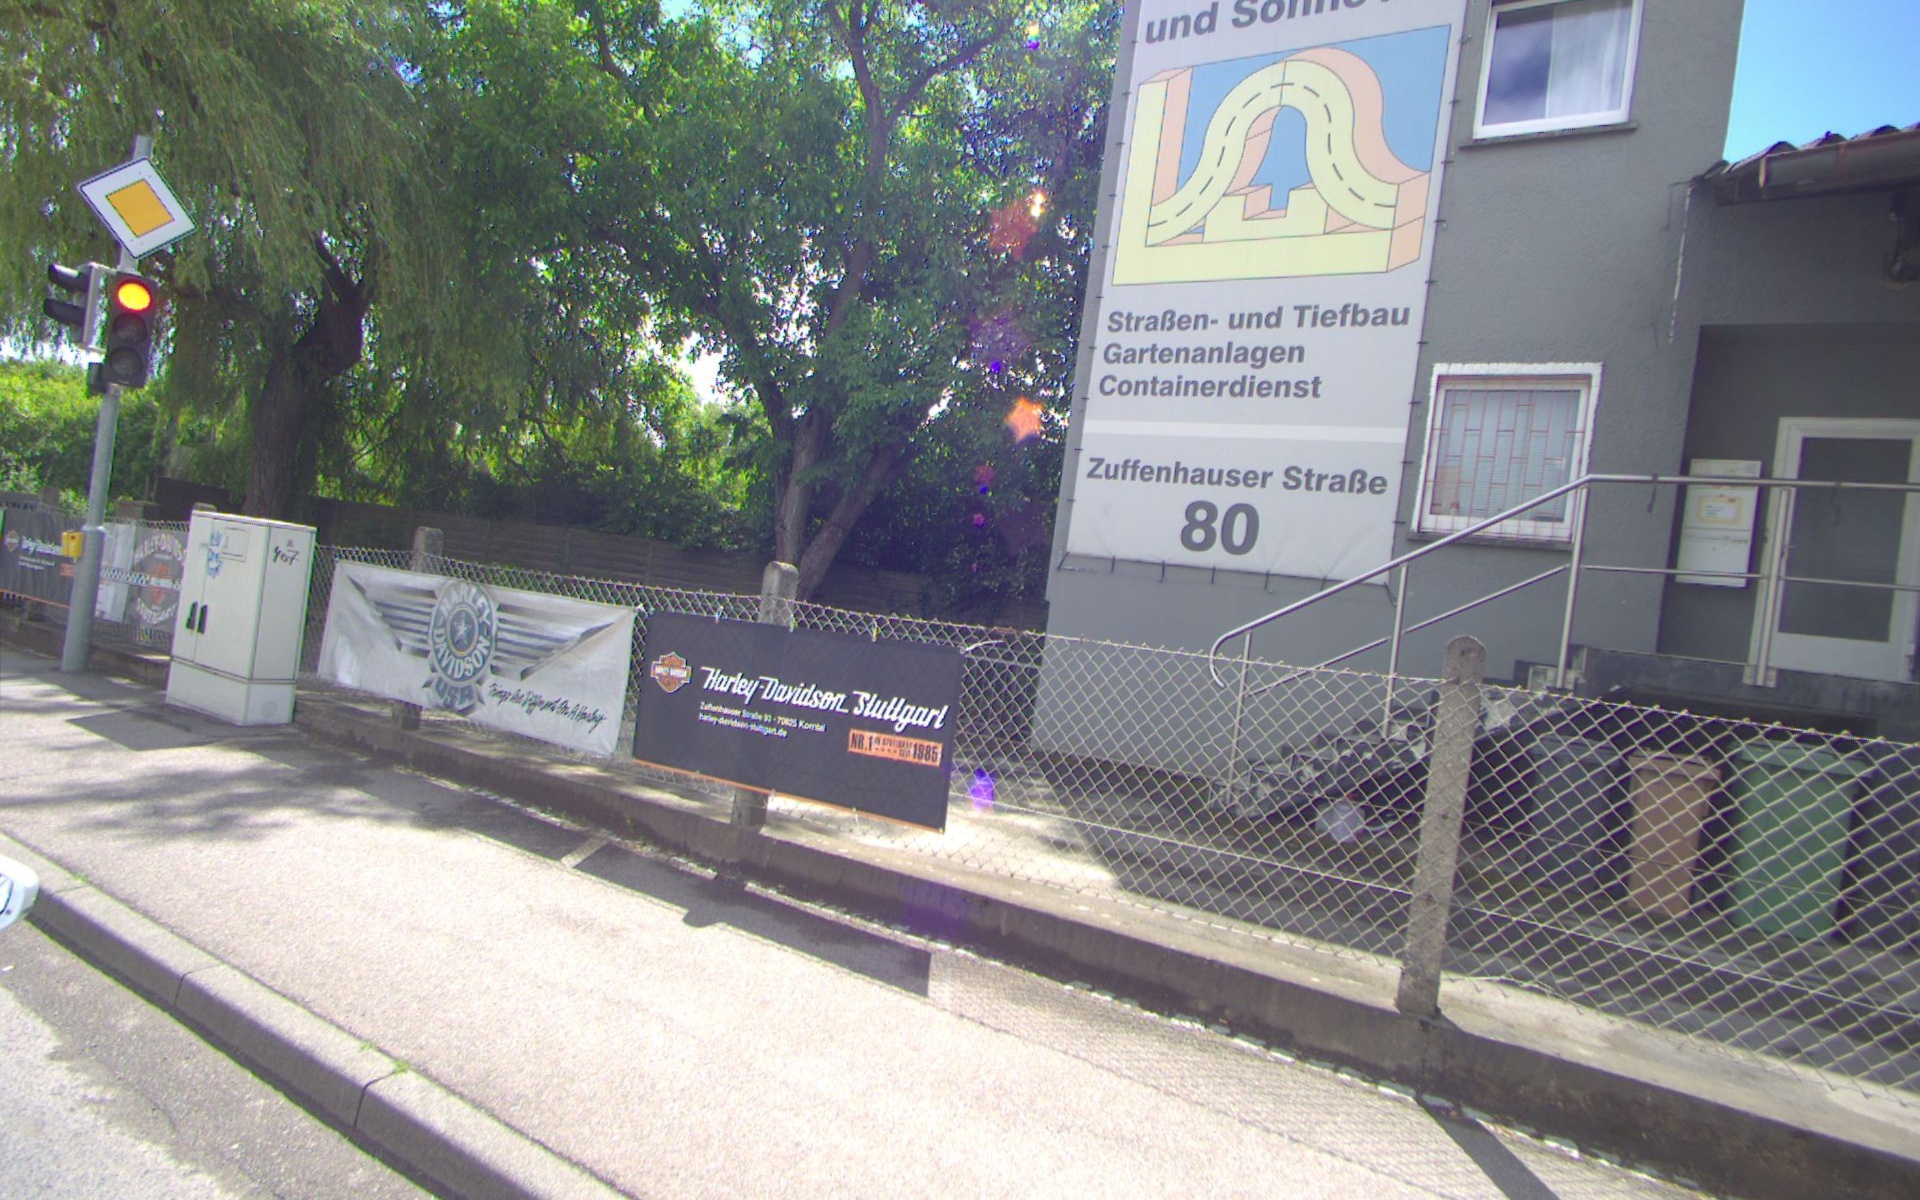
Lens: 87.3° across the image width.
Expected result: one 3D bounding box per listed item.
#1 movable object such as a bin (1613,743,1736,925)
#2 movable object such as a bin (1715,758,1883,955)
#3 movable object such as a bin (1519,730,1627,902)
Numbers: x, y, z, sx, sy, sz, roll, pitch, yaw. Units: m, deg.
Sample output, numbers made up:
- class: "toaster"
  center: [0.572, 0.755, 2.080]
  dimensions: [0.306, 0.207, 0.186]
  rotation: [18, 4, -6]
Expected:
- class: "movable object such as a bin"
  center: [4.257, 1.370, 6.023]
  dimensions: [0.466, 0.941, 0.482]
  rotation: [7, -1, 30]
- class: "movable object such as a bin"
  center: [4.753, 1.425, 5.732]
  dimensions: [0.574, 0.941, 0.482]
  rotation: [6, -1, 30]
- class: "movable object such as a bin"
  center: [3.812, 1.322, 6.286]
  dimensions: [0.466, 0.941, 0.482]
  rotation: [7, -1, 30]
